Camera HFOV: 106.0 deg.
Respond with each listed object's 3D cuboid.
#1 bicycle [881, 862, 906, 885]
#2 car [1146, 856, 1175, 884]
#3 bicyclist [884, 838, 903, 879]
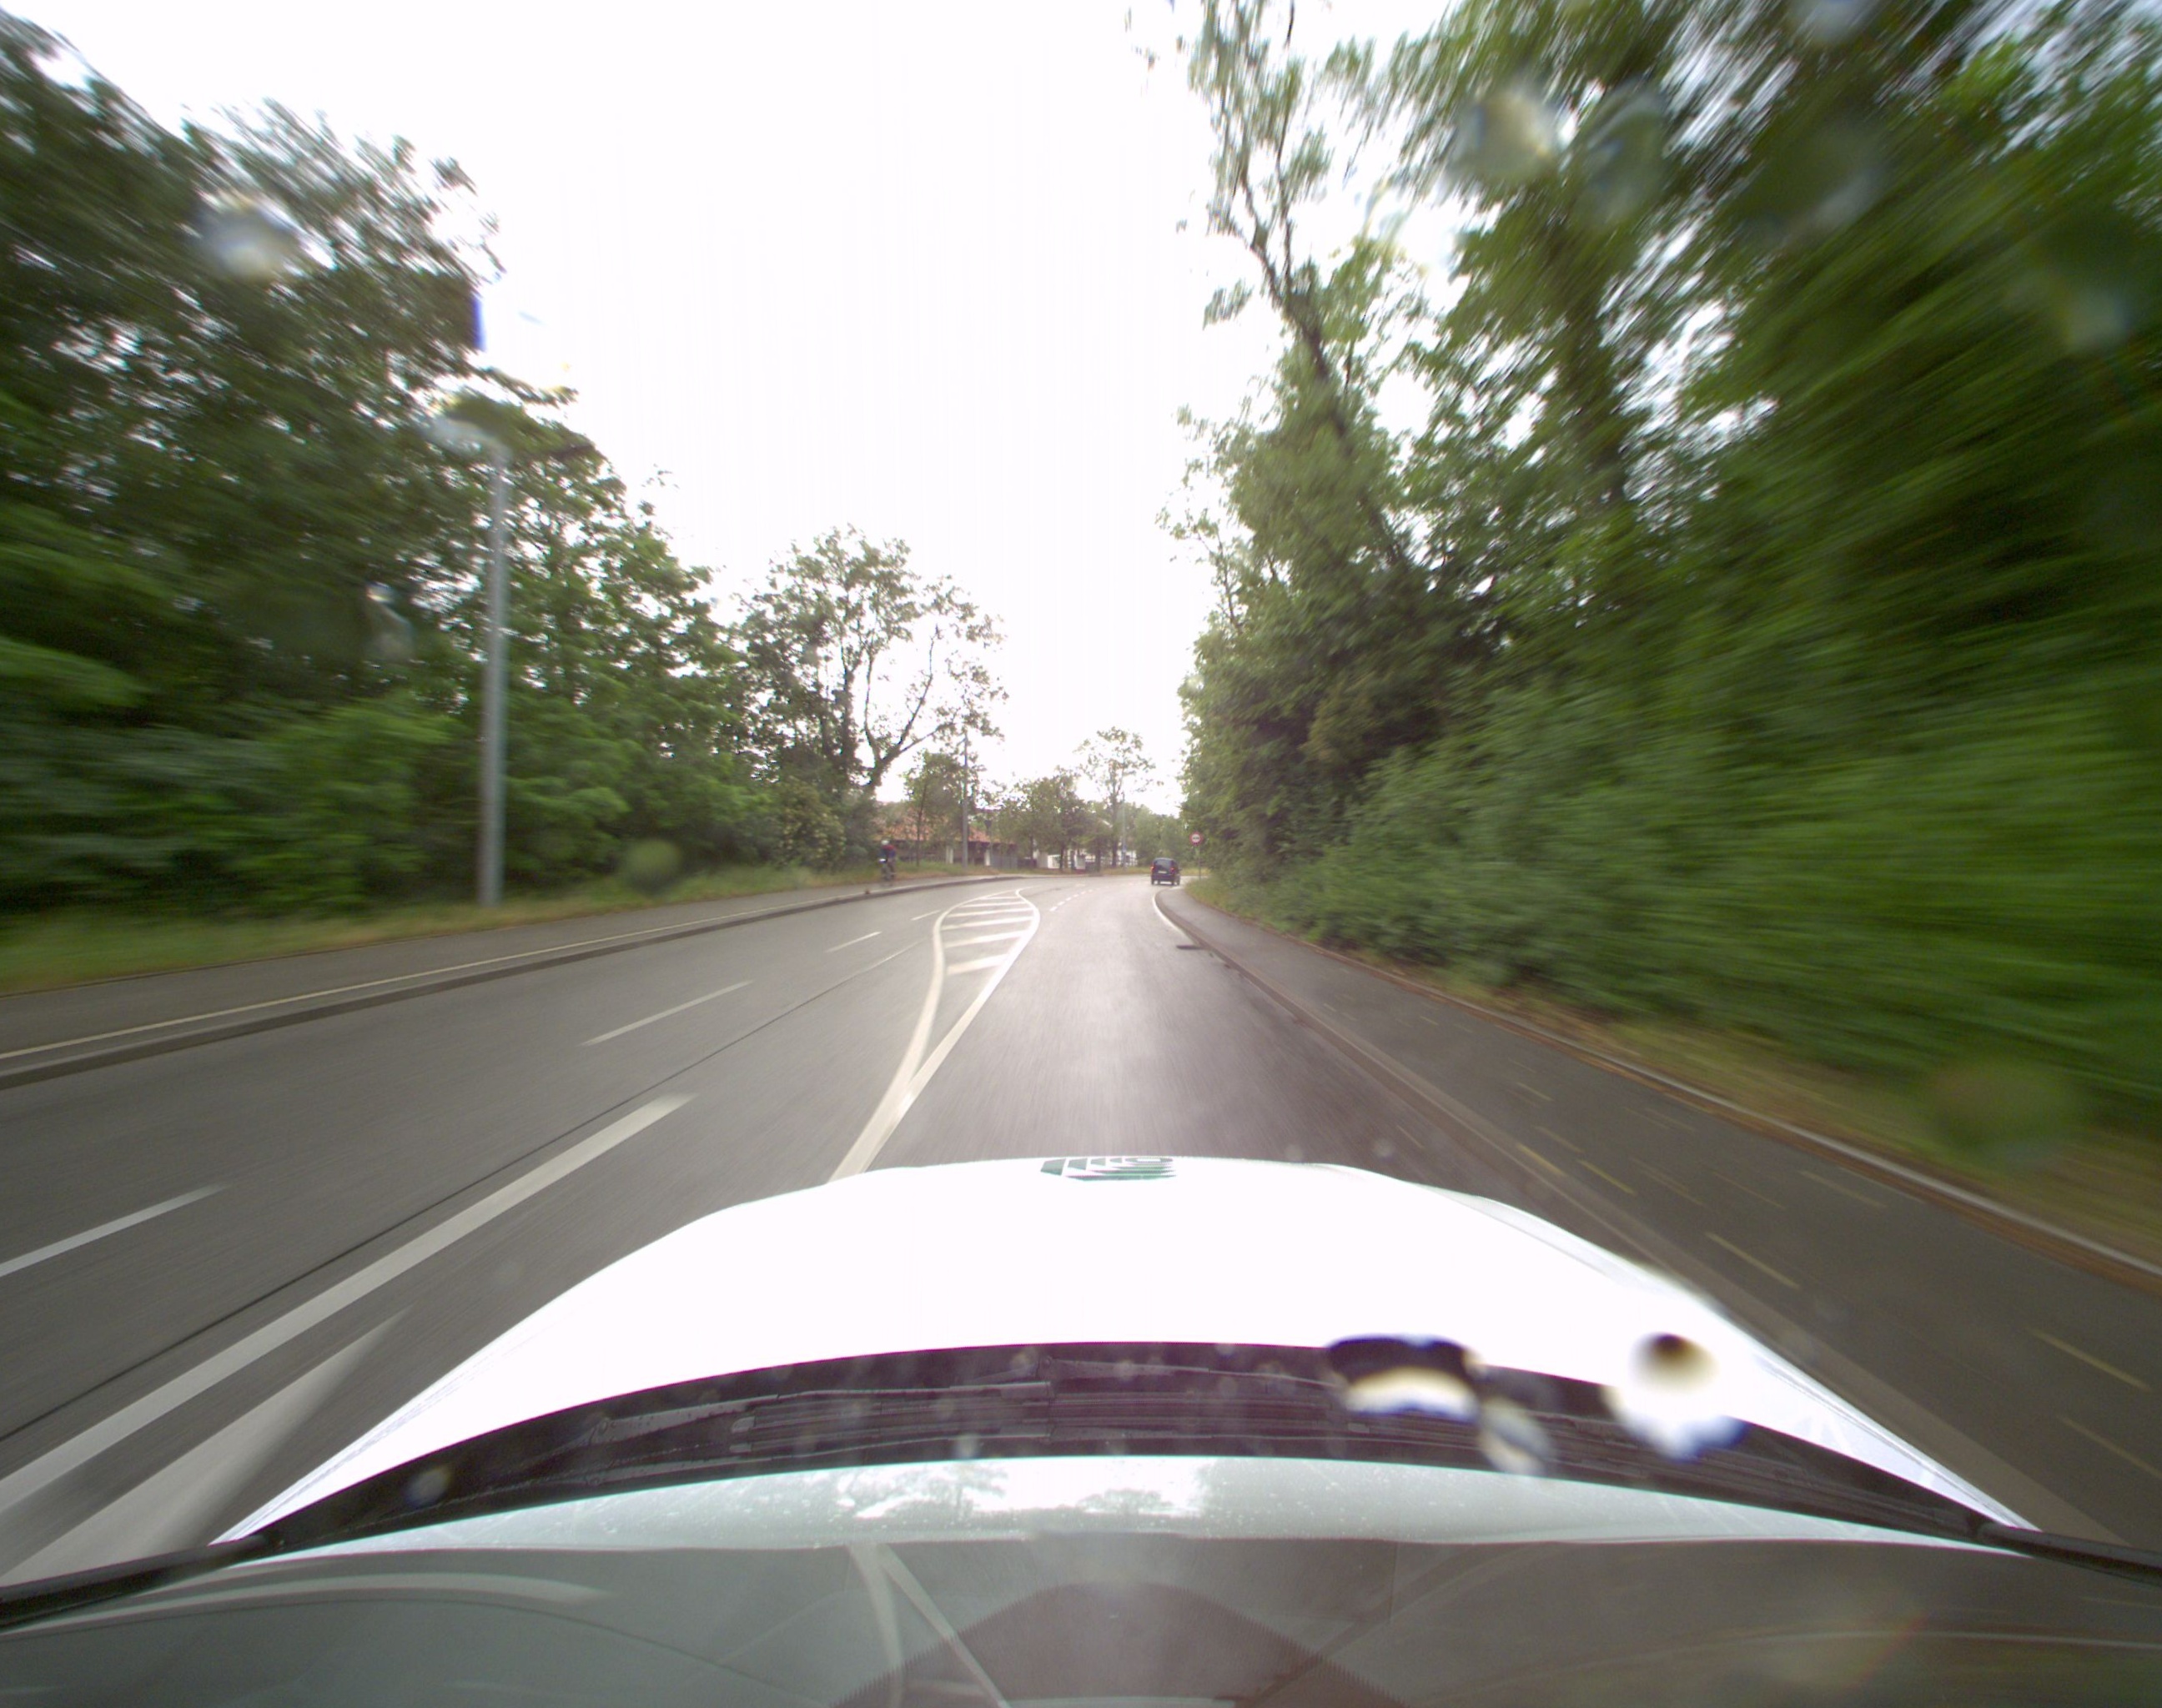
[{"bbox_3d":[-7.285,0.749,31.706,0.354,0.849,2.096,1,0,4],"label":"bicycle"},{"bbox_3d":[5.622,1.181,57.357,1.817,1.794,4.007,-4,-3,7],"label":"car"},{"bbox_3d":[-7.283,0.186,31.742,0.334,1.574,1.299,0,0,4],"label":"bicyclist"}]
